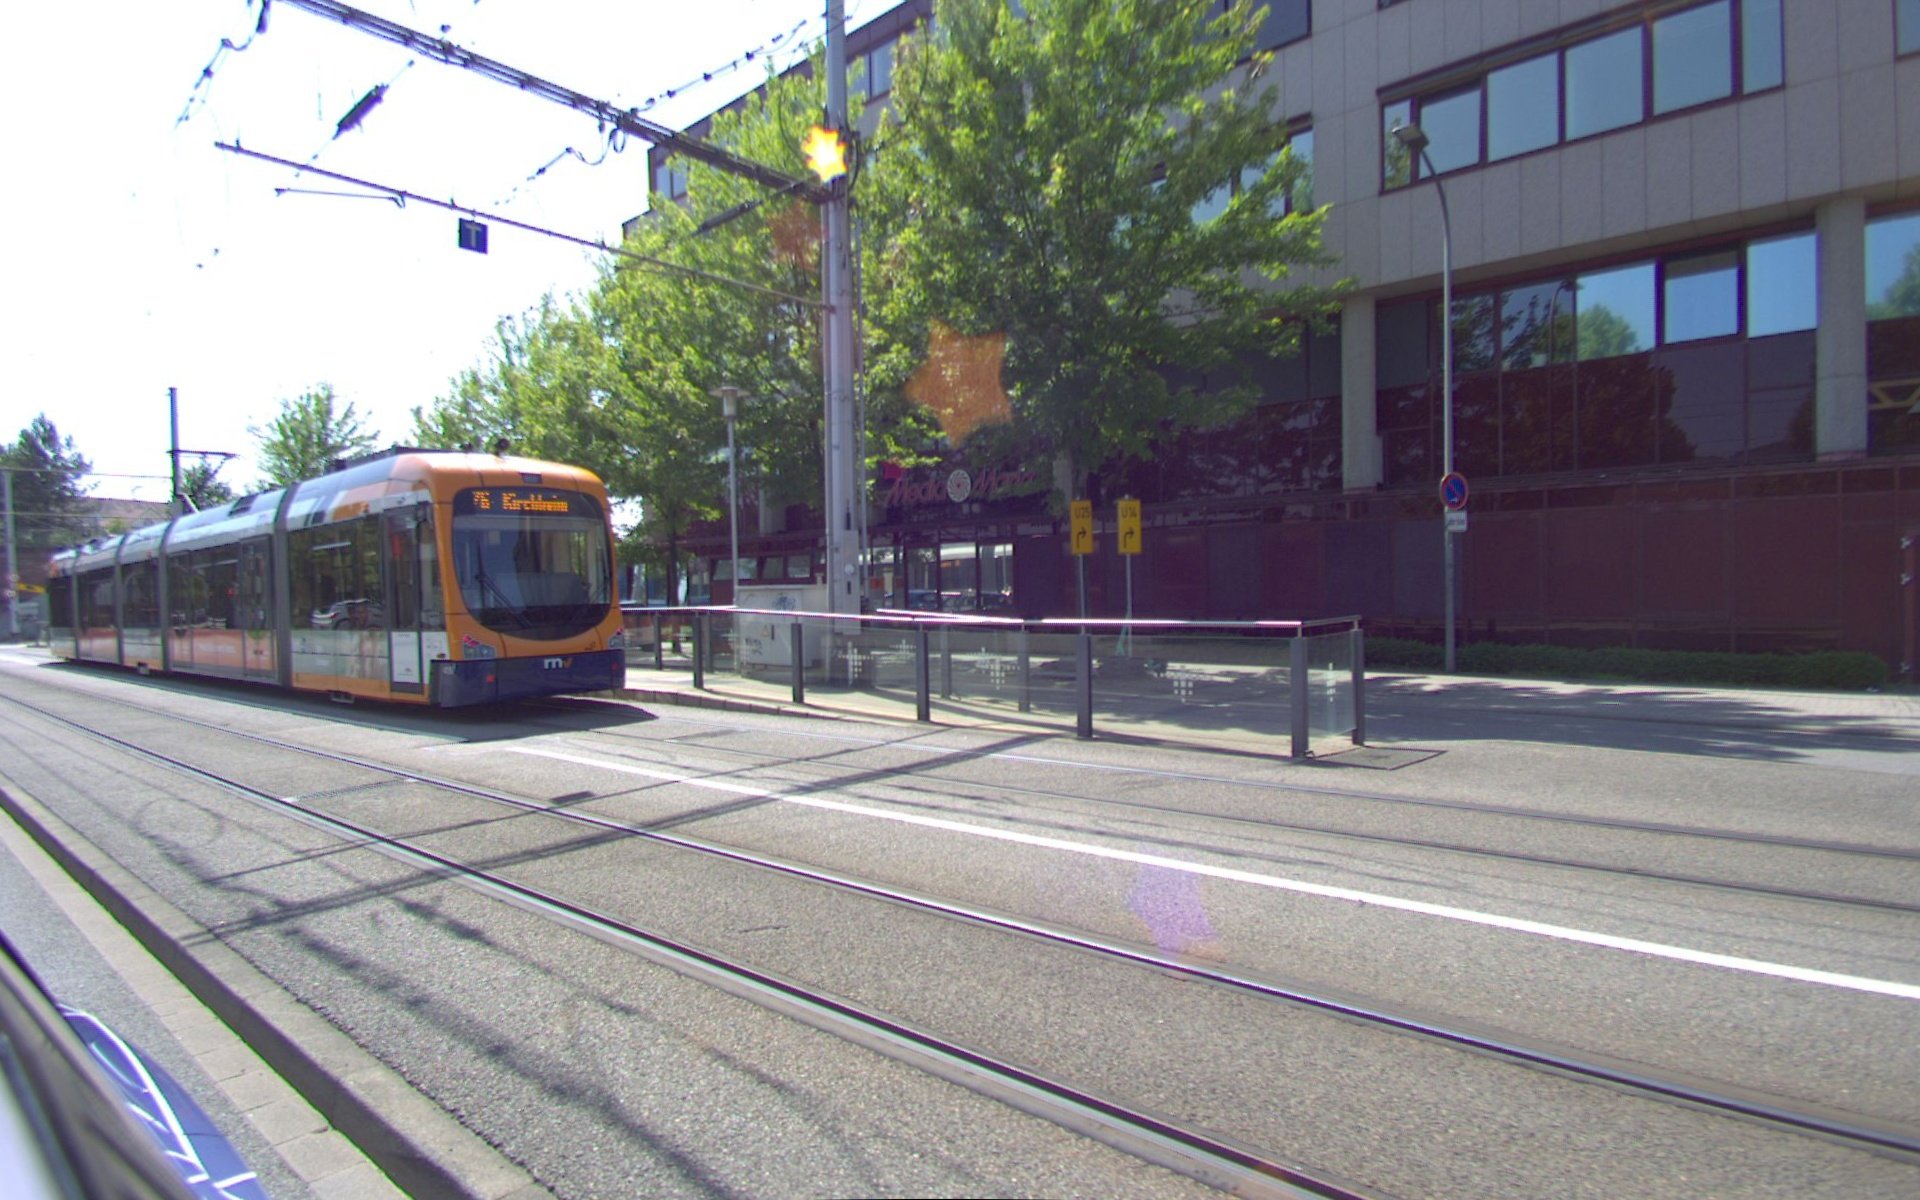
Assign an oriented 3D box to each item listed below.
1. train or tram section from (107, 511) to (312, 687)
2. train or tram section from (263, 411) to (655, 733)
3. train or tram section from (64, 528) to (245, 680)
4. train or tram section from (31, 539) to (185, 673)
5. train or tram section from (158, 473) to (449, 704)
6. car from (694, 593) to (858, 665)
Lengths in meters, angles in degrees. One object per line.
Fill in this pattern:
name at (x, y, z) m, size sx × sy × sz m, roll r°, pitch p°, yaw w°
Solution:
train or tram section at (-16.752, 0.007, 22.499) m, size 5.007 × 3.473 × 2.584 m, roll -2°, pitch 0°, yaw 41°
train or tram section at (-7.137, -0.266, 13.977) m, size 6.359 × 3.473 × 2.553 m, roll -2°, pitch 0°, yaw 41°
train or tram section at (-20.856, 0.123, 26.087) m, size 5.840 × 3.473 × 2.584 m, roll -2°, pitch 0°, yaw 41°
train or tram section at (-25.229, 0.193, 29.890) m, size 5.739 × 3.559 × 2.584 m, roll -2°, pitch 0°, yaw 41°
train or tram section at (-12.193, -0.121, 18.494) m, size 7.133 × 3.473 × 2.553 m, roll -2°, pitch 0°, yaw 41°
car at (-4.449, 0.680, 24.181) m, size 3.999 × 1.530 × 1.742 m, roll -1°, pitch 1°, yaw 42°
